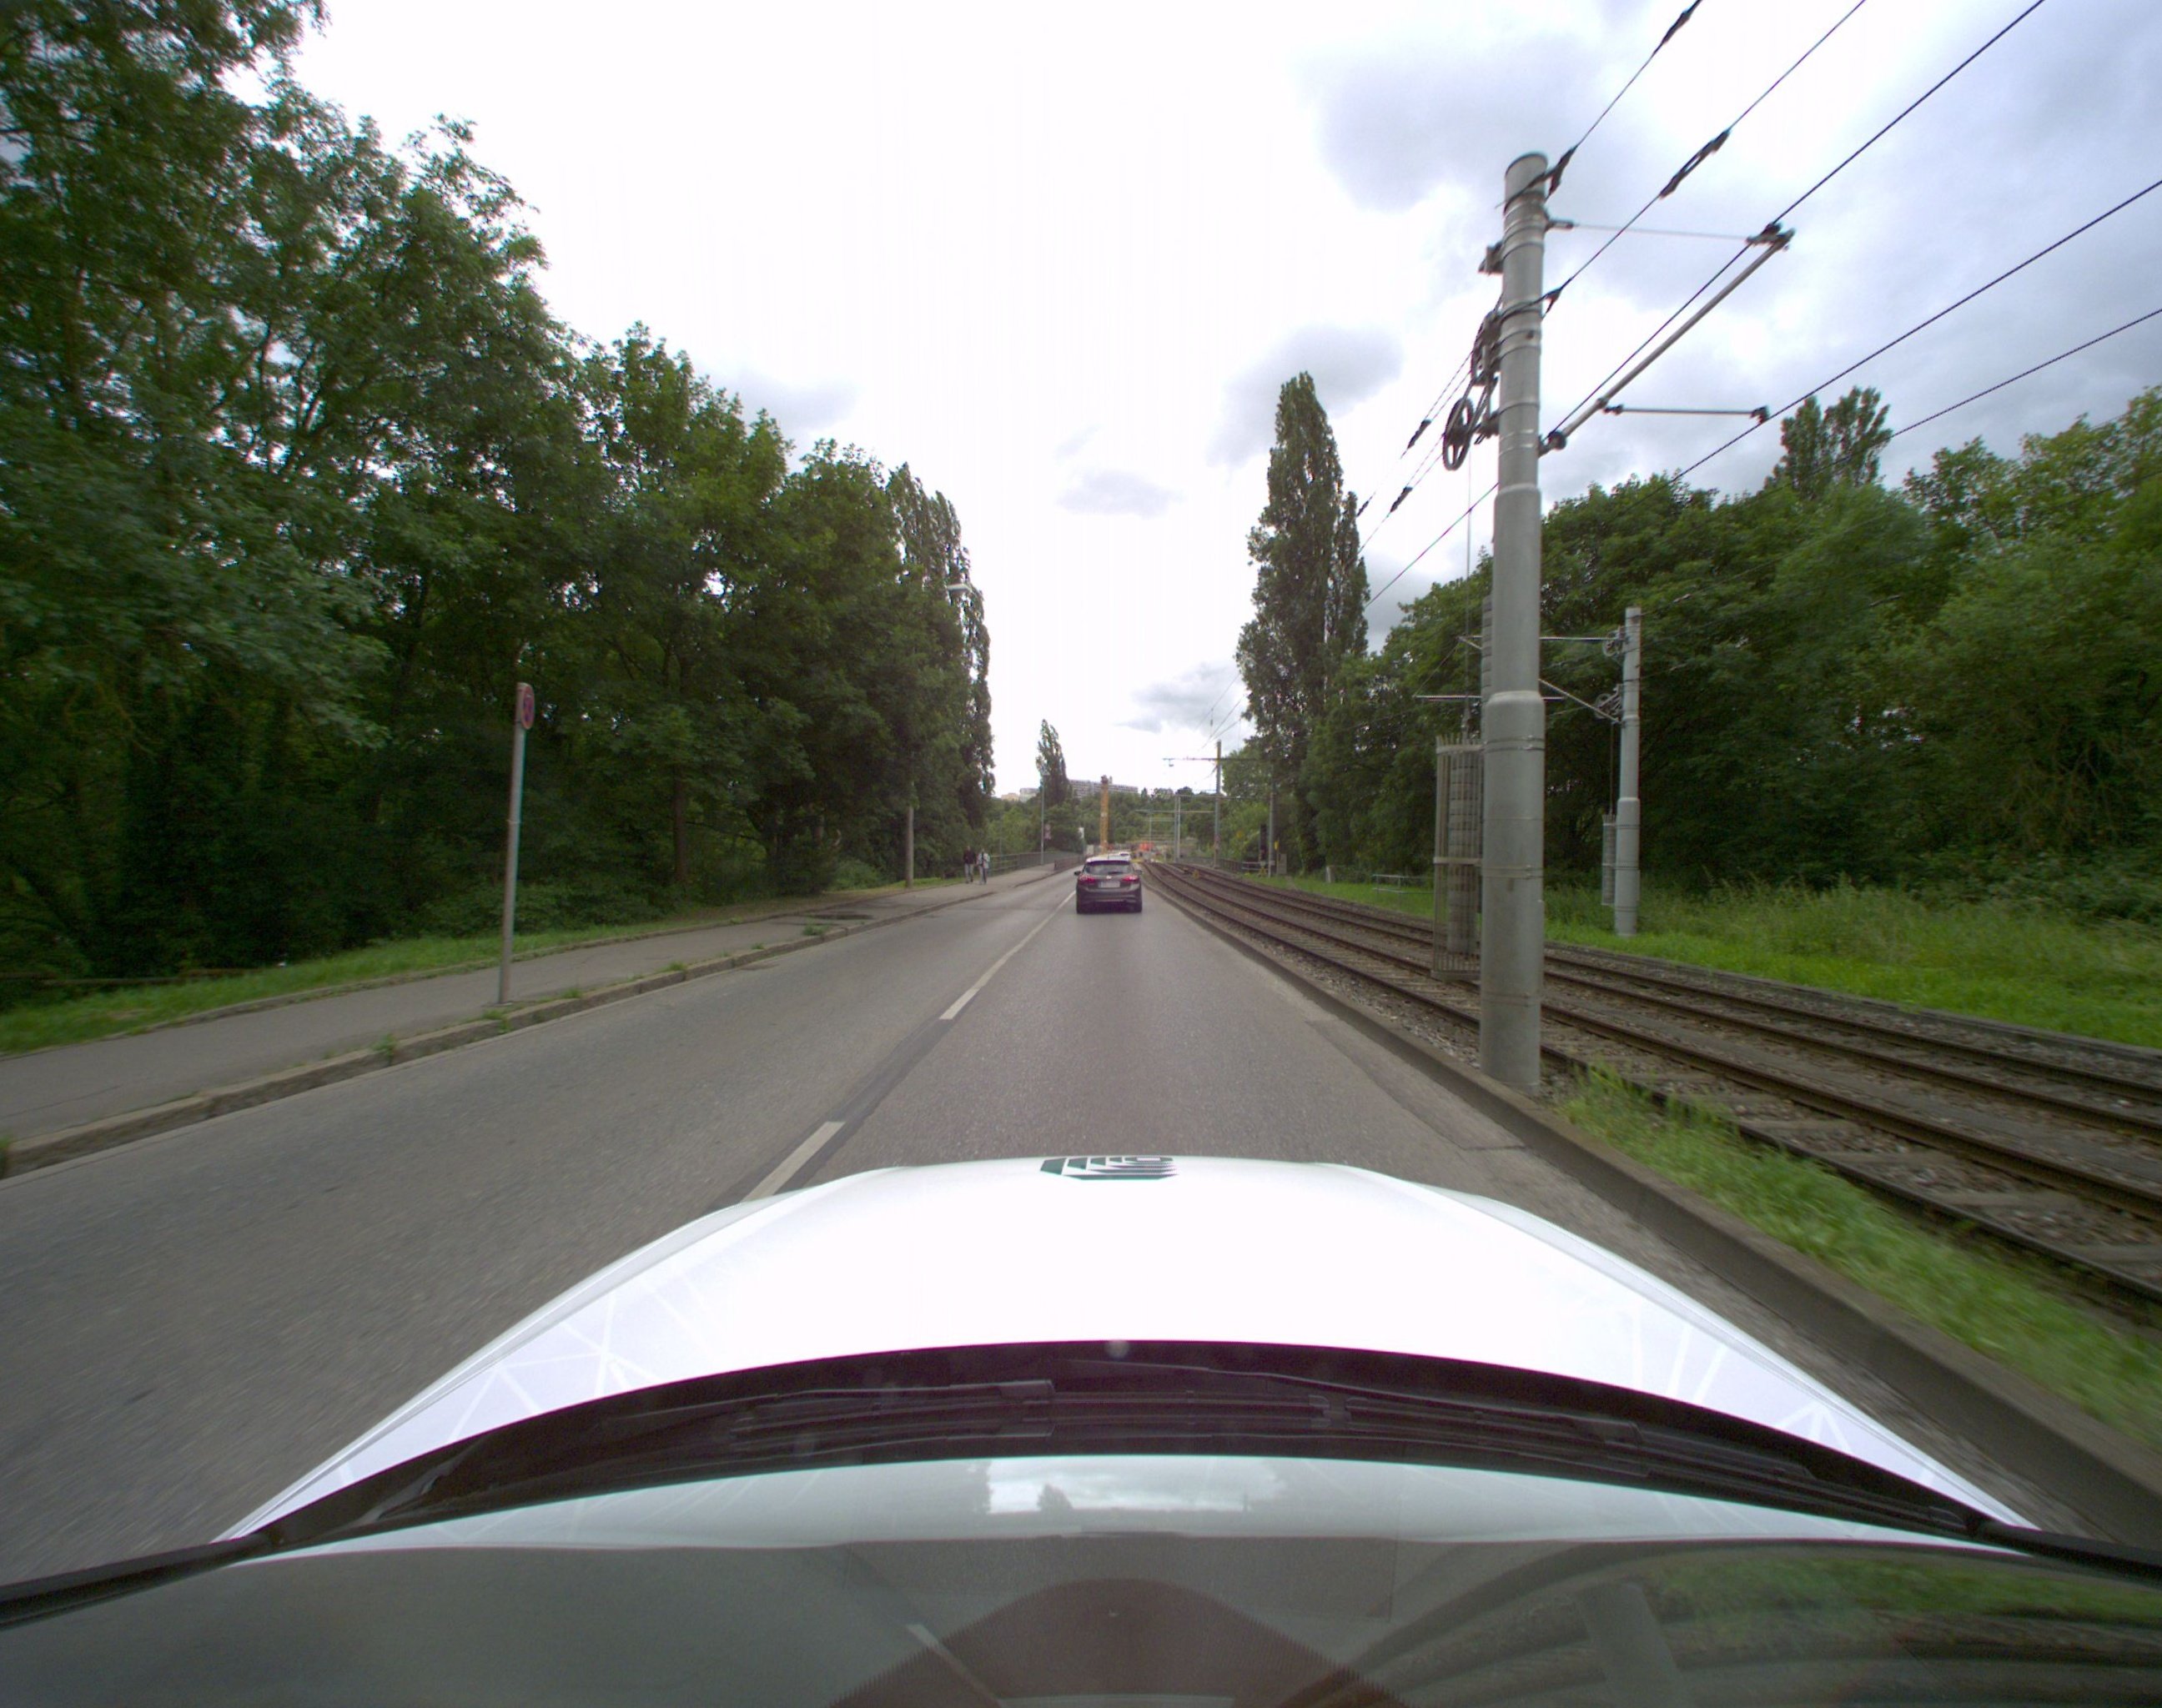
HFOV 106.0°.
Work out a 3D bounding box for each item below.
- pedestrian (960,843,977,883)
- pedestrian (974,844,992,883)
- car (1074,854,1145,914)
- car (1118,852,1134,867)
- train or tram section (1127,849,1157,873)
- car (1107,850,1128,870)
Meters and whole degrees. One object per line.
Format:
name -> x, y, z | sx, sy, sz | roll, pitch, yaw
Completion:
pedestrian -> -5.232, 0.404, 37.947 | 0.585, 1.803, 0.823 | 2, 0, 2
pedestrian -> -4.579, 0.459, 38.064 | 0.549, 1.765, 0.858 | 4, 0, 2
car -> 0.736, 0.789, 23.088 | 1.824, 1.510, 4.000 | 0, 0, 0
car -> 5.019, 0.558, 90.224 | 1.673, 1.606, 4.313 | 1, 0, 3
train or tram section -> 14.377, 1.835, 195.502 | 3.024, 5.183, 23.001 | 2, -2, -6
car -> 3.124, 0.479, 68.912 | 1.673, 1.606, 4.313 | 2, 0, 3
